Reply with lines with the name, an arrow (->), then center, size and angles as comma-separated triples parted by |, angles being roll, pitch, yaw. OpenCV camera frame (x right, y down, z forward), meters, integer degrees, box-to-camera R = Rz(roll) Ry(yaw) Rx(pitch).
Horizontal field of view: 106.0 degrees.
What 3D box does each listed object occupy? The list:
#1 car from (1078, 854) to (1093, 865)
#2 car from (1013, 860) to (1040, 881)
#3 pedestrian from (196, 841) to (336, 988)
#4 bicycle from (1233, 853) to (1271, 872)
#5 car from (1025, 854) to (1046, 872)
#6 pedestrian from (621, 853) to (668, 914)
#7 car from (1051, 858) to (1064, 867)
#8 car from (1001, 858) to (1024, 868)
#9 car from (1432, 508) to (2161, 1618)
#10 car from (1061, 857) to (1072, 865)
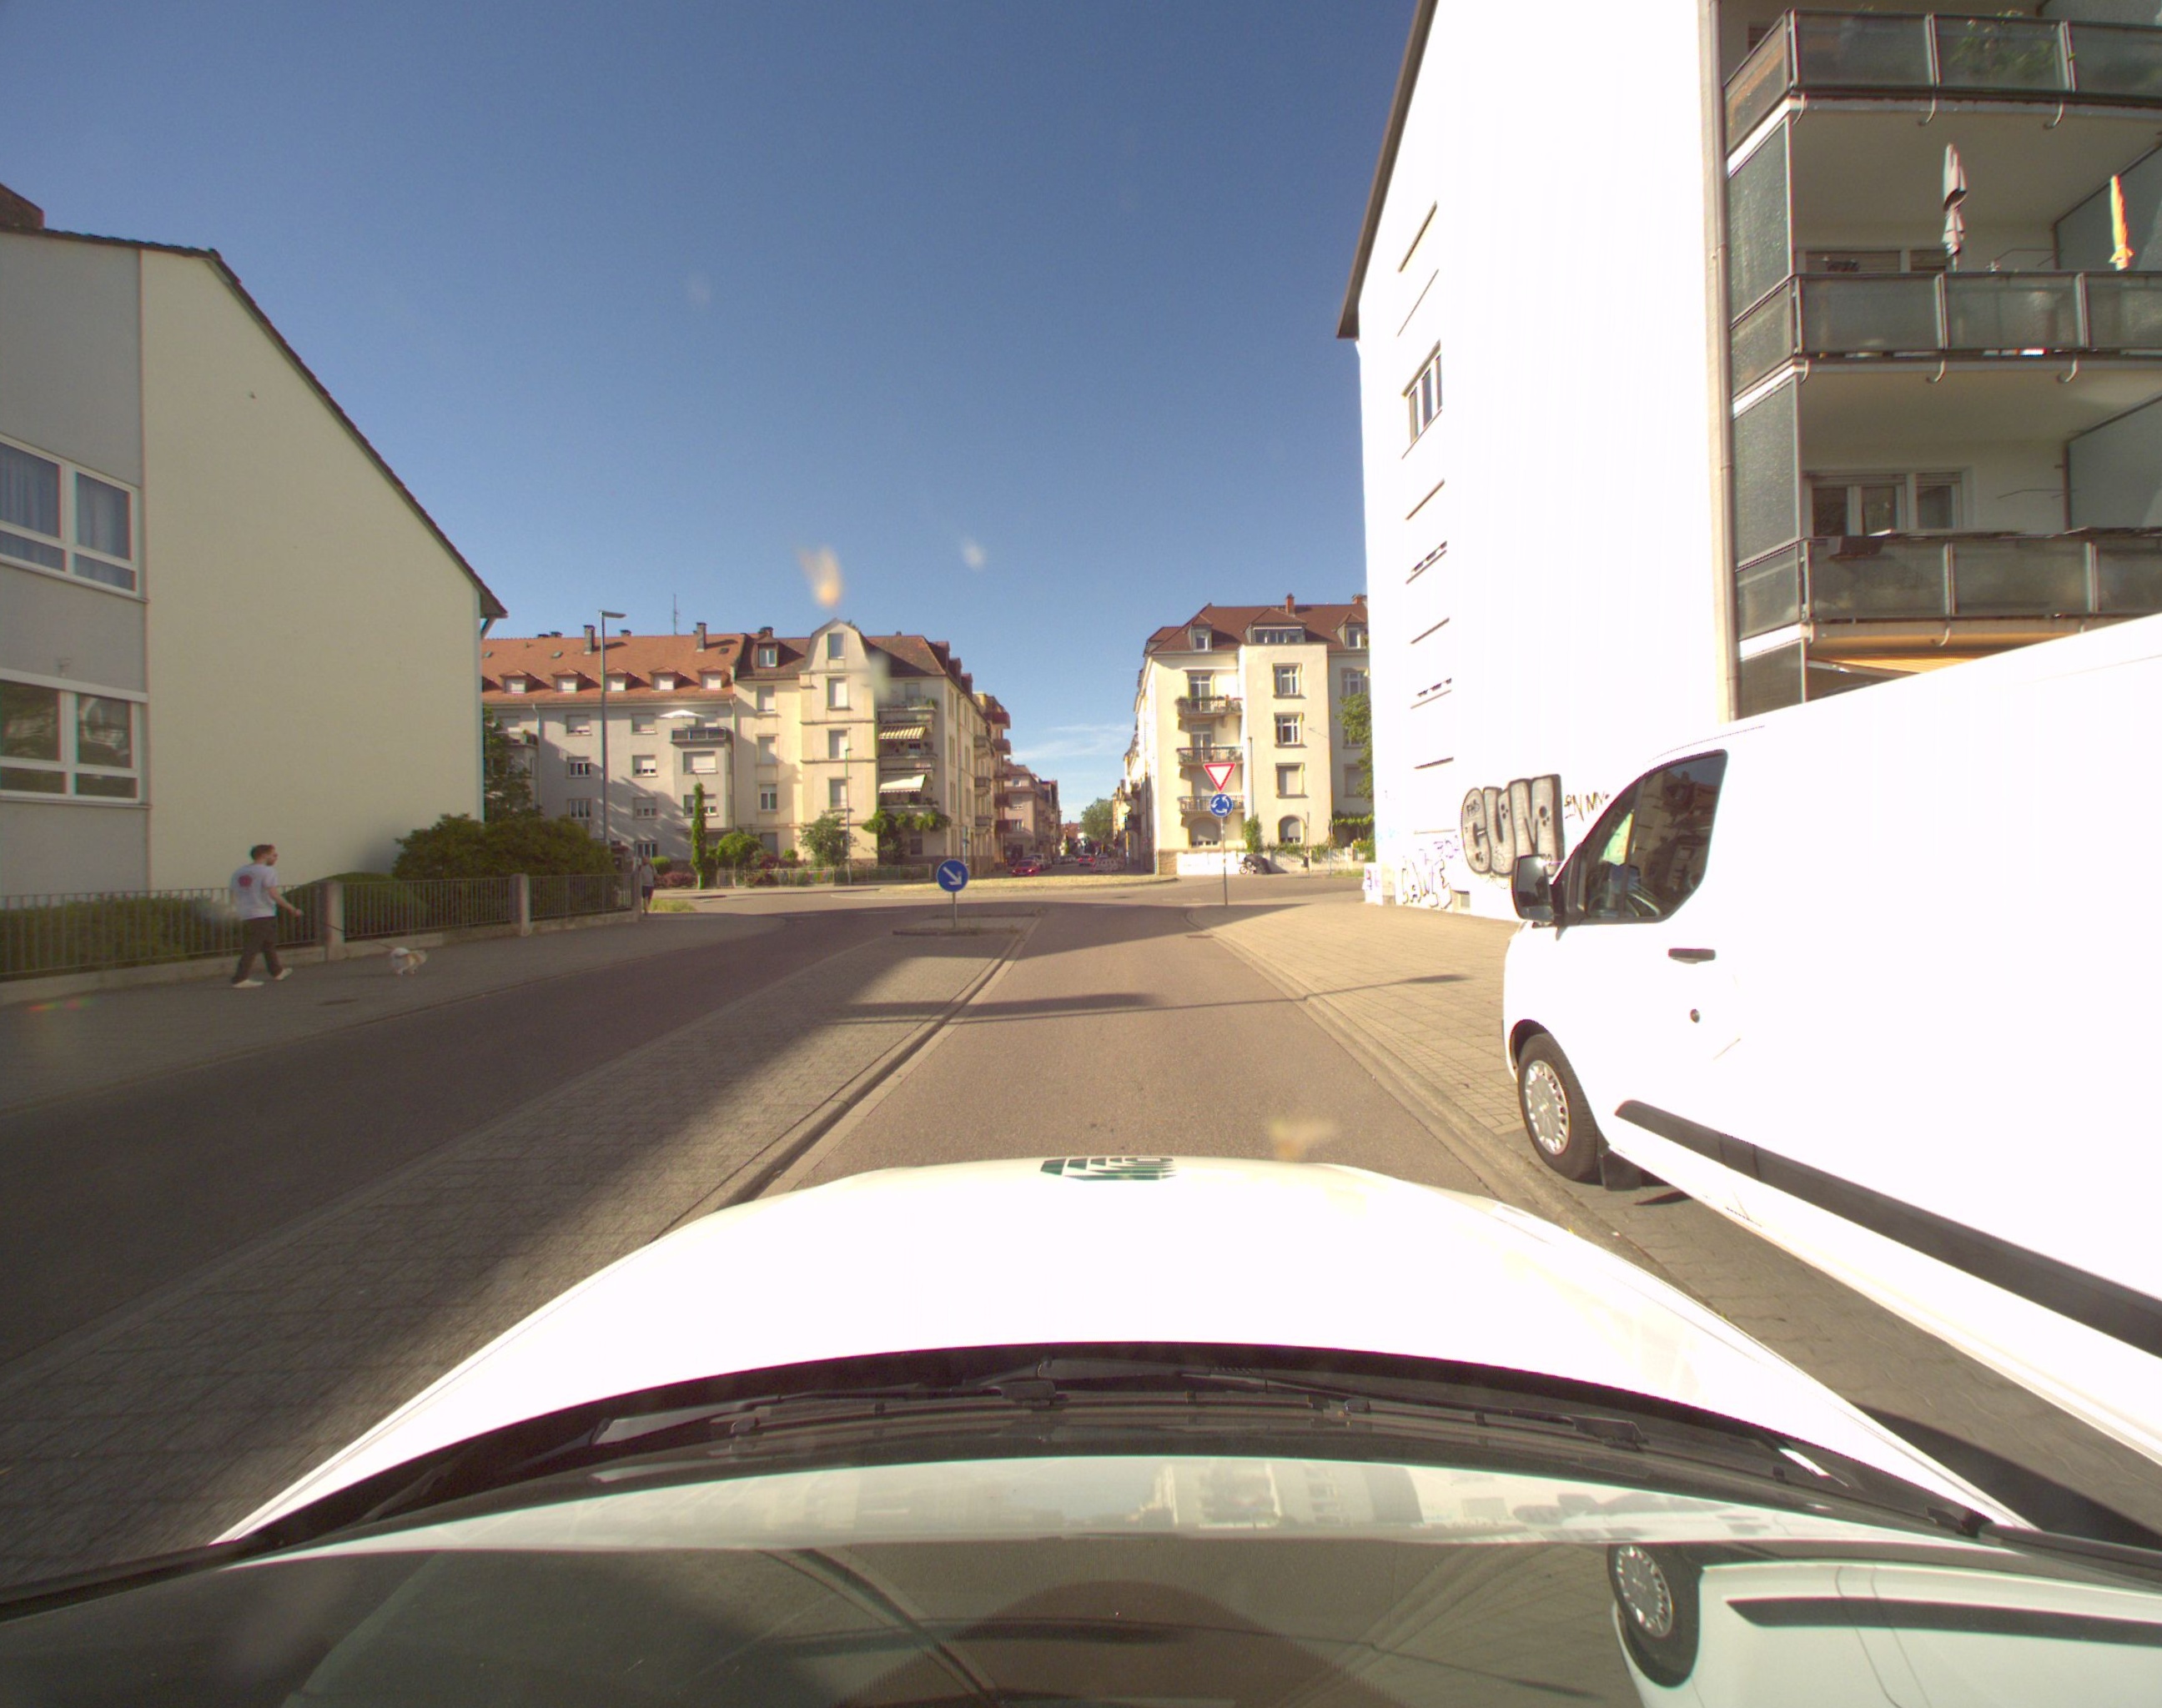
car -> 0.649, 0.819, 114.744 | 1.832, 1.431, 4.030 | -2, -2, 2
car -> -4.162, 1.233, 62.642 | 1.705, 1.382, 4.001 | -3, 0, 1
pedestrian -> -9.927, 0.709, 9.962 | 0.687, 1.706, 0.998 | 0, -1, 2
bicycle -> 10.772, 0.529, 51.417 | 2.257, 1.157, 0.771 | -1, -1, 43
car -> -4.965, 0.996, 90.012 | 1.968, 1.925, 5.310 | 0, 0, 1
pedestrian -> -12.620, 0.839, 23.537 | 0.984, 1.706, 0.825 | -1, -1, 32
car -> -3.849, 1.372, 134.618 | 1.672, 1.426, 4.276 | 1, -1, 3
car -> -10.597, 1.362, 125.864 | 1.714, 1.438, 3.489 | -1, 1, -43
car -> 2.950, 0.336, 2.203 | 1.986, 2.013, 4.800 | -4, 0, 2
car -> -2.958, 1.383, 166.027 | 1.997, 1.619, 4.486 | 1, -1, 0
